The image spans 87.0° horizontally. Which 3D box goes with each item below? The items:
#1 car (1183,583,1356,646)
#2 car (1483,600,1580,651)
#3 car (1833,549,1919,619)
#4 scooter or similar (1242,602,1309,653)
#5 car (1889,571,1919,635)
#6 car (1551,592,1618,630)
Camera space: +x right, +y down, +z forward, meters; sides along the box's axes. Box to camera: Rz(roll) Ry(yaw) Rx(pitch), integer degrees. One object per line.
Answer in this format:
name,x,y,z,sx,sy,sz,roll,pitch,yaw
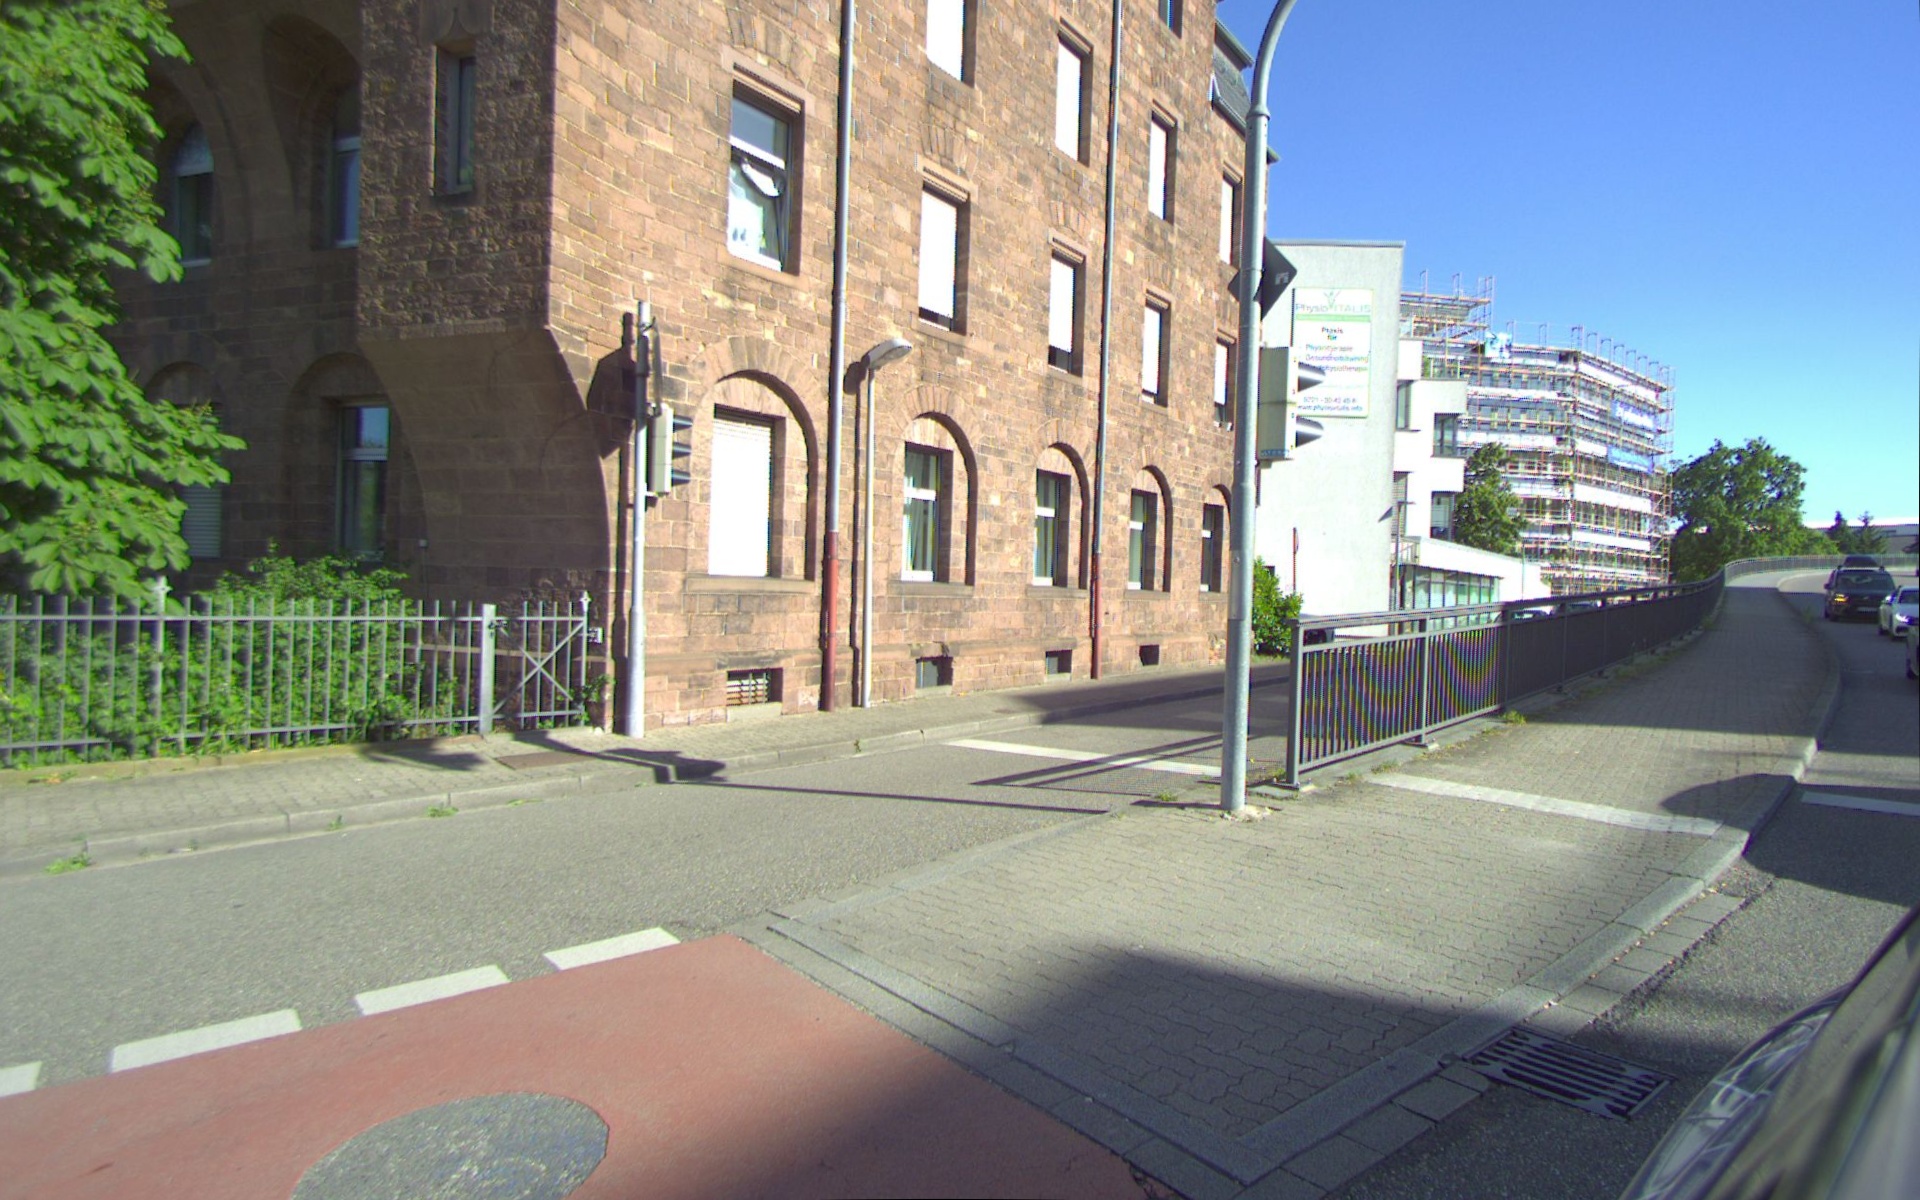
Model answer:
car,9.098,0.404,30.061,4.562,1.789,1.828,0,2,2
car,19.121,0.790,33.763,1.844,1.448,4.611,1,2,42
car,31.459,-0.614,34.772,1.900,2.241,4.538,1,3,37
scooter or similar,7.906,0.683,25.377,1.453,1.234,0.775,-1,-1,35
car,25.883,0.041,26.633,1.842,1.554,4.444,1,2,39
car,27.589,0.459,44.652,1.843,1.554,3.940,3,2,41
